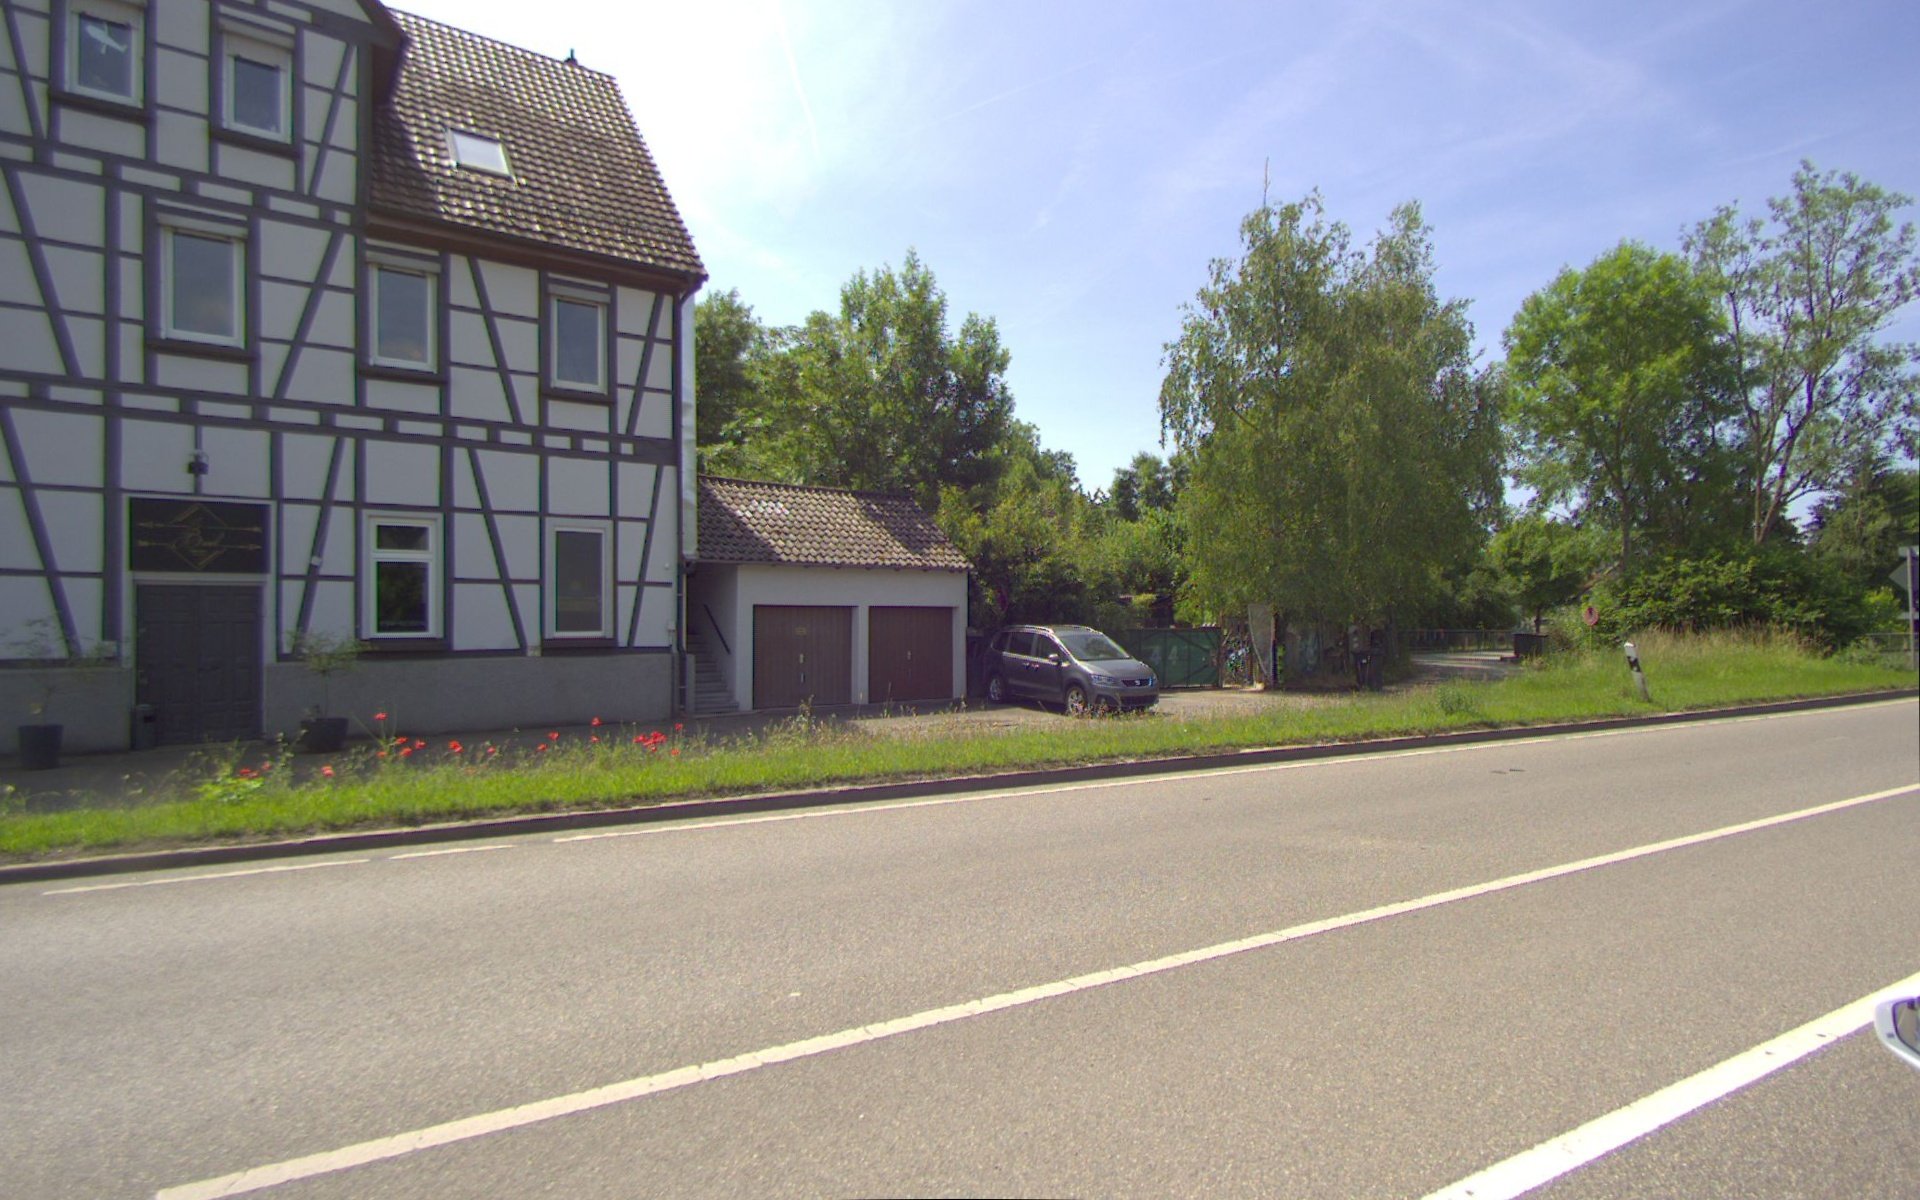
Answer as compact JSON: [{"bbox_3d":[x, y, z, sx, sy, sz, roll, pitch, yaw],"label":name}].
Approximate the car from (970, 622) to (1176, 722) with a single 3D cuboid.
[{"bbox_3d":[2.267,1.411,21.416,1.842,1.743,4.634,-1,1,-34],"label":"car"}]
